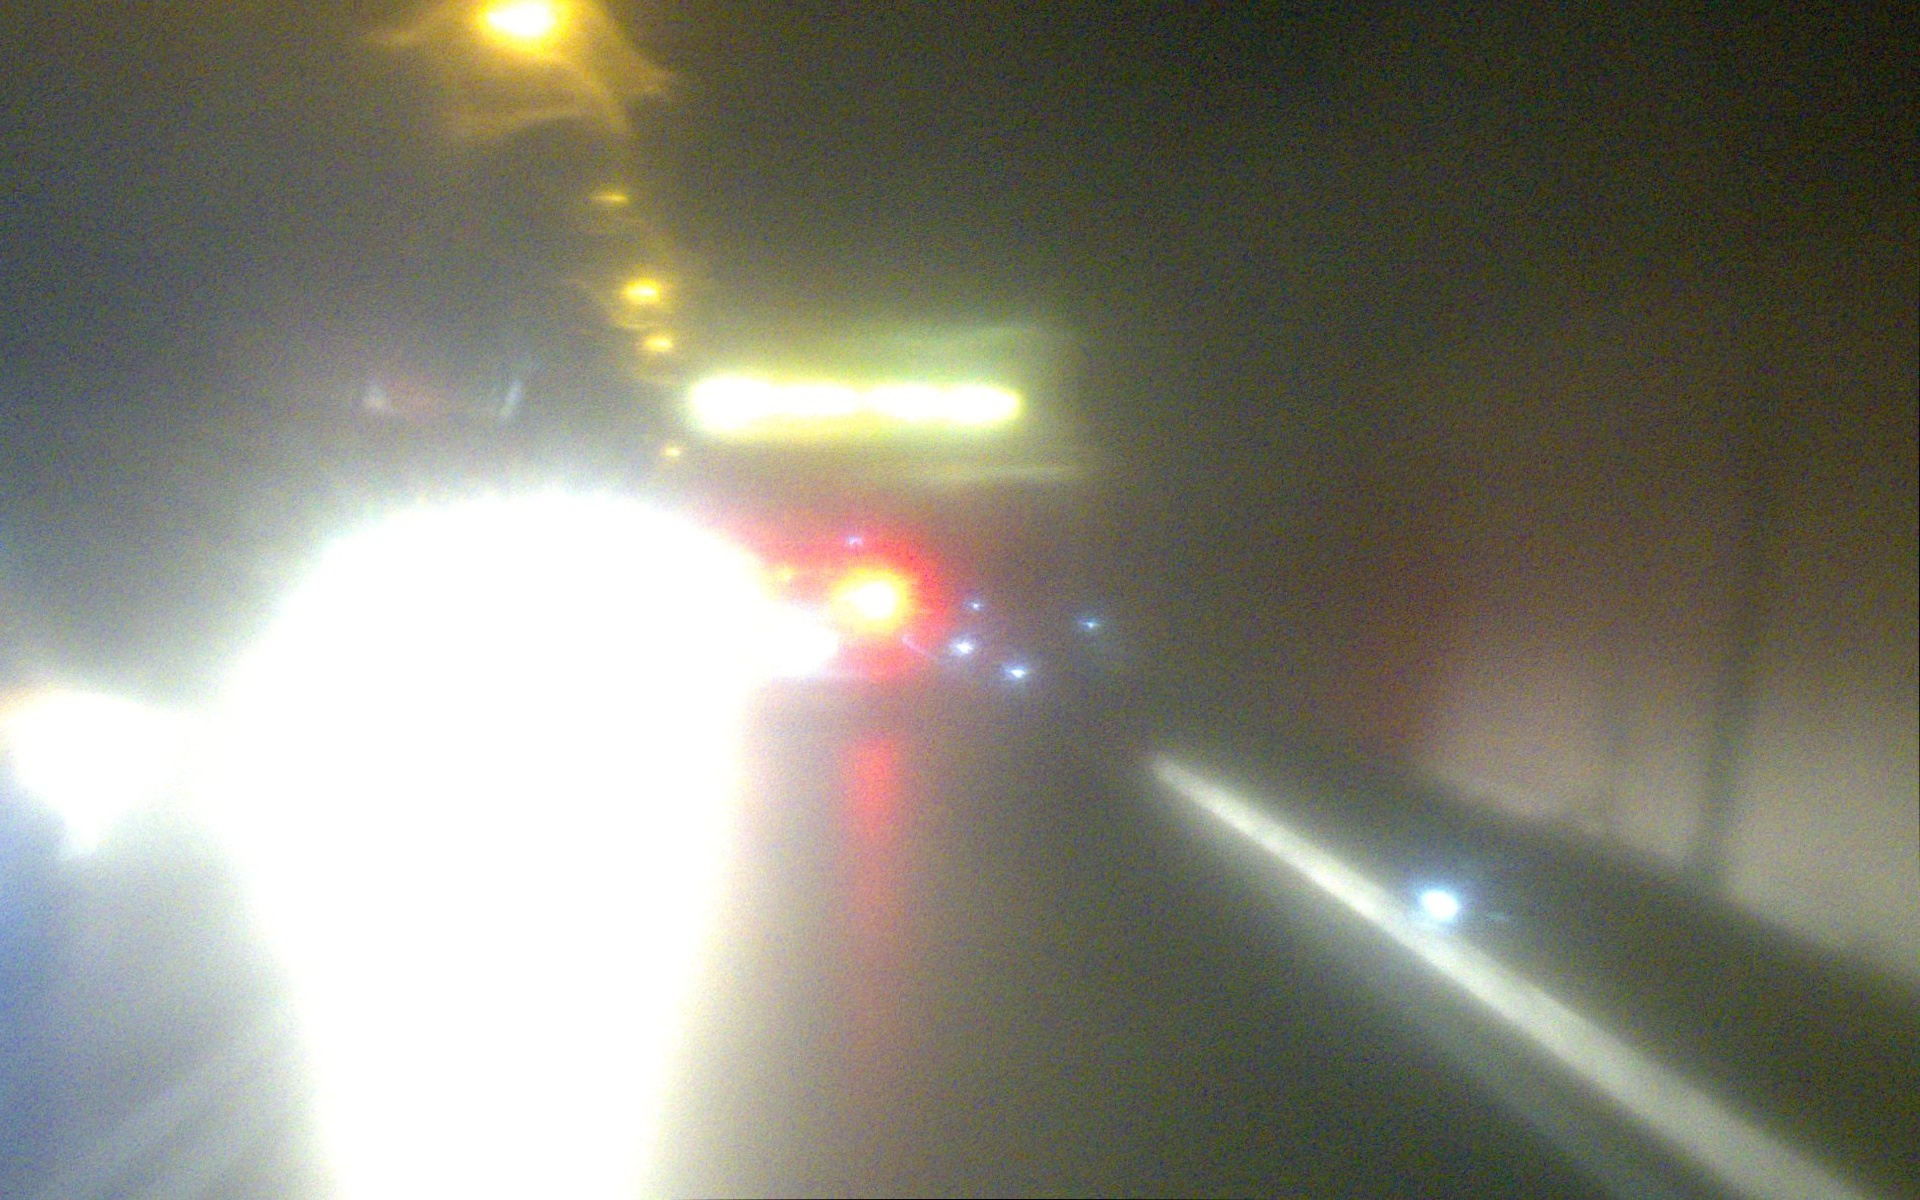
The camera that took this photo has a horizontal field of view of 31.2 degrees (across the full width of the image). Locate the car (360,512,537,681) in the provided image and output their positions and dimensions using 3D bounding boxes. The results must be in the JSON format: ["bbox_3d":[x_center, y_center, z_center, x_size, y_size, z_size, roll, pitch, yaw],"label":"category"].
[{"bbox_3d":[-5.117,-0.069,34.658,1.582,1.532,3.177,3,1,-7],"label":"car"}]

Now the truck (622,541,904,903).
[{"bbox_3d":[-1.900,0.989,33.275,2.262,3.000,7.416,3,1,-3],"label":"truck"}]

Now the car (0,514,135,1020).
[{"bbox_3d":[-3.659,0.490,9.912,1.621,1.512,4.138,1,1,-1],"label":"car"}]
